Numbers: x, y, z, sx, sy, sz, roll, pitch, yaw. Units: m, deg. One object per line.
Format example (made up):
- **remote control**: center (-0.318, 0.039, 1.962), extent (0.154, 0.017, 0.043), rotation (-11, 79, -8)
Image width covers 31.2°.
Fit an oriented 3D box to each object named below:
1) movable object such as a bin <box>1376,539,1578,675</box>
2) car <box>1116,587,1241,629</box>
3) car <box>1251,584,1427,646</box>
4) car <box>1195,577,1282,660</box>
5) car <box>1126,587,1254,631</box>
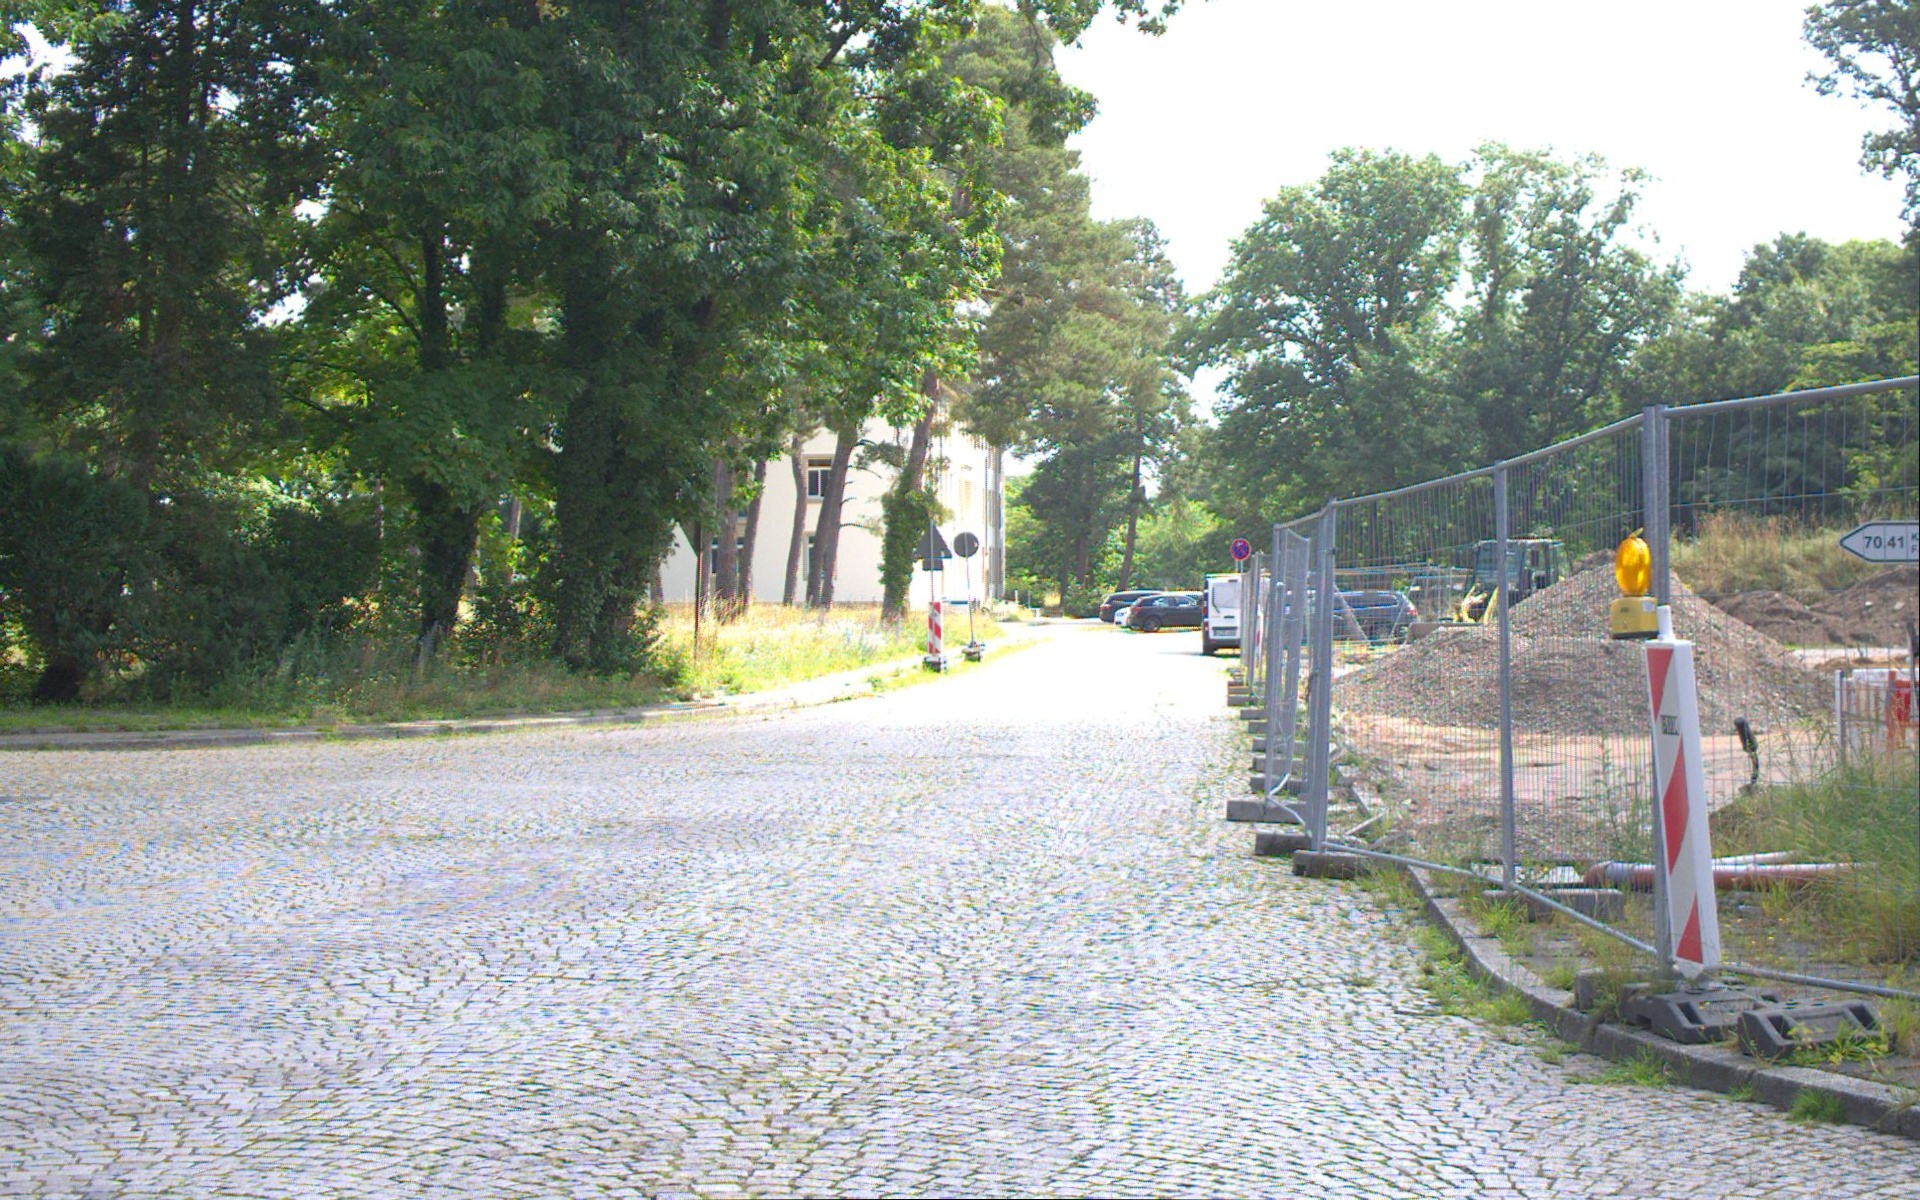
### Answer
- **movable object such as a bin**: center (10.248, 0.116, 67.863), extent (2.132, 2.584, 4.782), rotation (0, 0, 33)
- **car**: center (8.676, 0.315, 136.670), extent (4.779, 1.635, 2.000), rotation (1, 0, -1)
- **car**: center (10.012, 0.385, 90.717), extent (4.405, 1.505, 1.999), rotation (1, 0, 12)
- **car**: center (6.888, 0.448, 85.315), extent (1.994, 2.007, 4.091), rotation (1, 0, 2)
- **car**: center (8.923, 0.337, 133.542), extent (4.779, 1.635, 2.000), rotation (1, 0, -1)
